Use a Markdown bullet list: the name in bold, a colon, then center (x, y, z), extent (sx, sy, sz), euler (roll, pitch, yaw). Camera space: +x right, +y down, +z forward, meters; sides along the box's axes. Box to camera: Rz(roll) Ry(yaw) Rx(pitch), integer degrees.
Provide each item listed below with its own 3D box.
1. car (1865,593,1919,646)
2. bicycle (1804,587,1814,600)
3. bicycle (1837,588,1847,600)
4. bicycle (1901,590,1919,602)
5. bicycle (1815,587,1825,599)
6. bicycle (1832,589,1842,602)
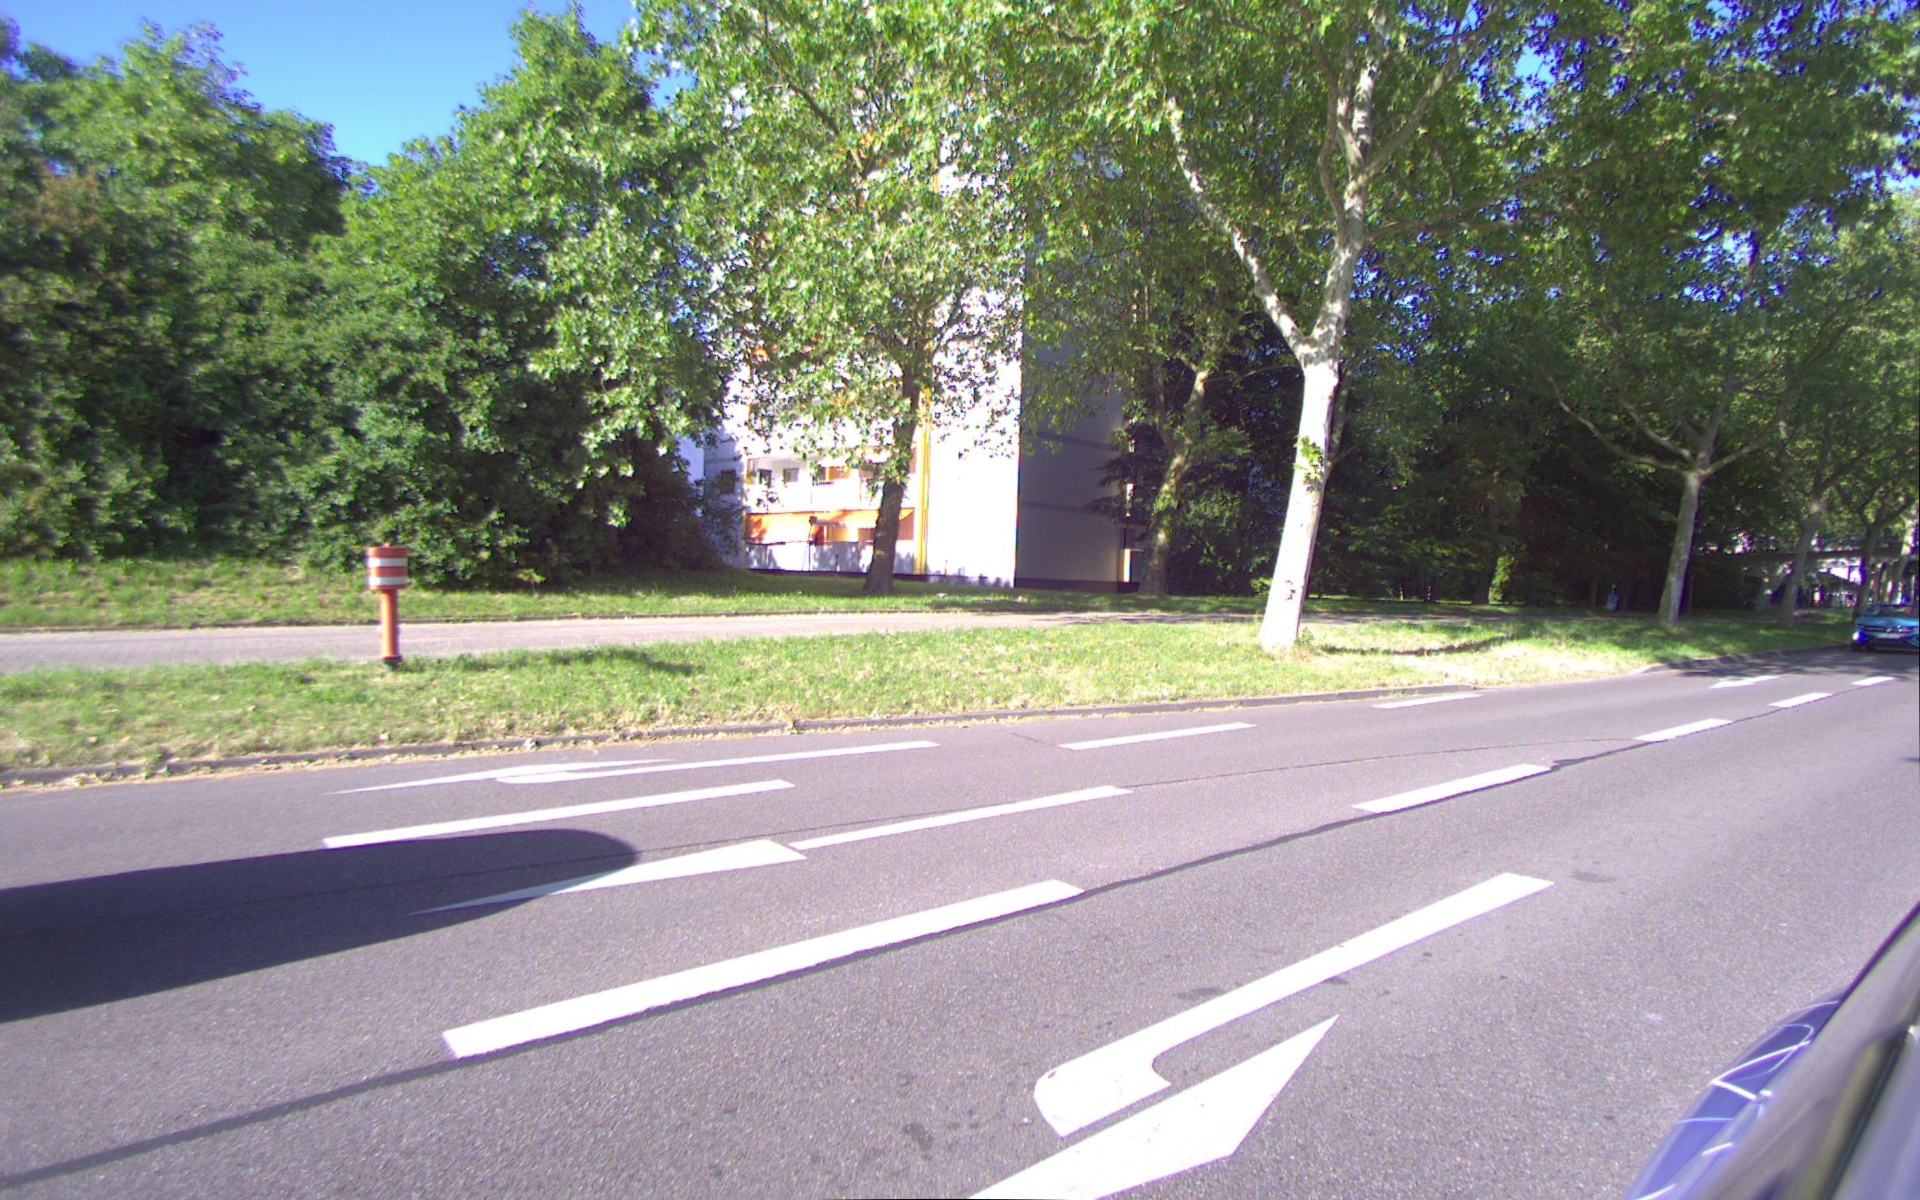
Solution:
- **car**: center (28.625, 0.573, 30.256), extent (4.027, 1.502, 1.779), euler (1, 0, -40)
- **bicycle**: center (83.900, -0.639, 100.003), extent (1.775, 1.269, 0.576), euler (0, 1, -42)
- **bicycle**: center (93.789, -0.611, 107.589), extent (1.775, 1.269, 0.576), euler (0, 1, -42)
- **bicycle**: center (95.361, -0.366, 100.978), extent (2.064, 1.172, 0.554), euler (4, 3, 40)
- **bicycle**: center (91.247, -0.698, 107.420), extent (1.775, 1.269, 0.576), euler (0, 1, -42)
- **bicycle**: center (90.323, -0.455, 104.214), extent (1.775, 1.269, 0.576), euler (0, 1, -42)
